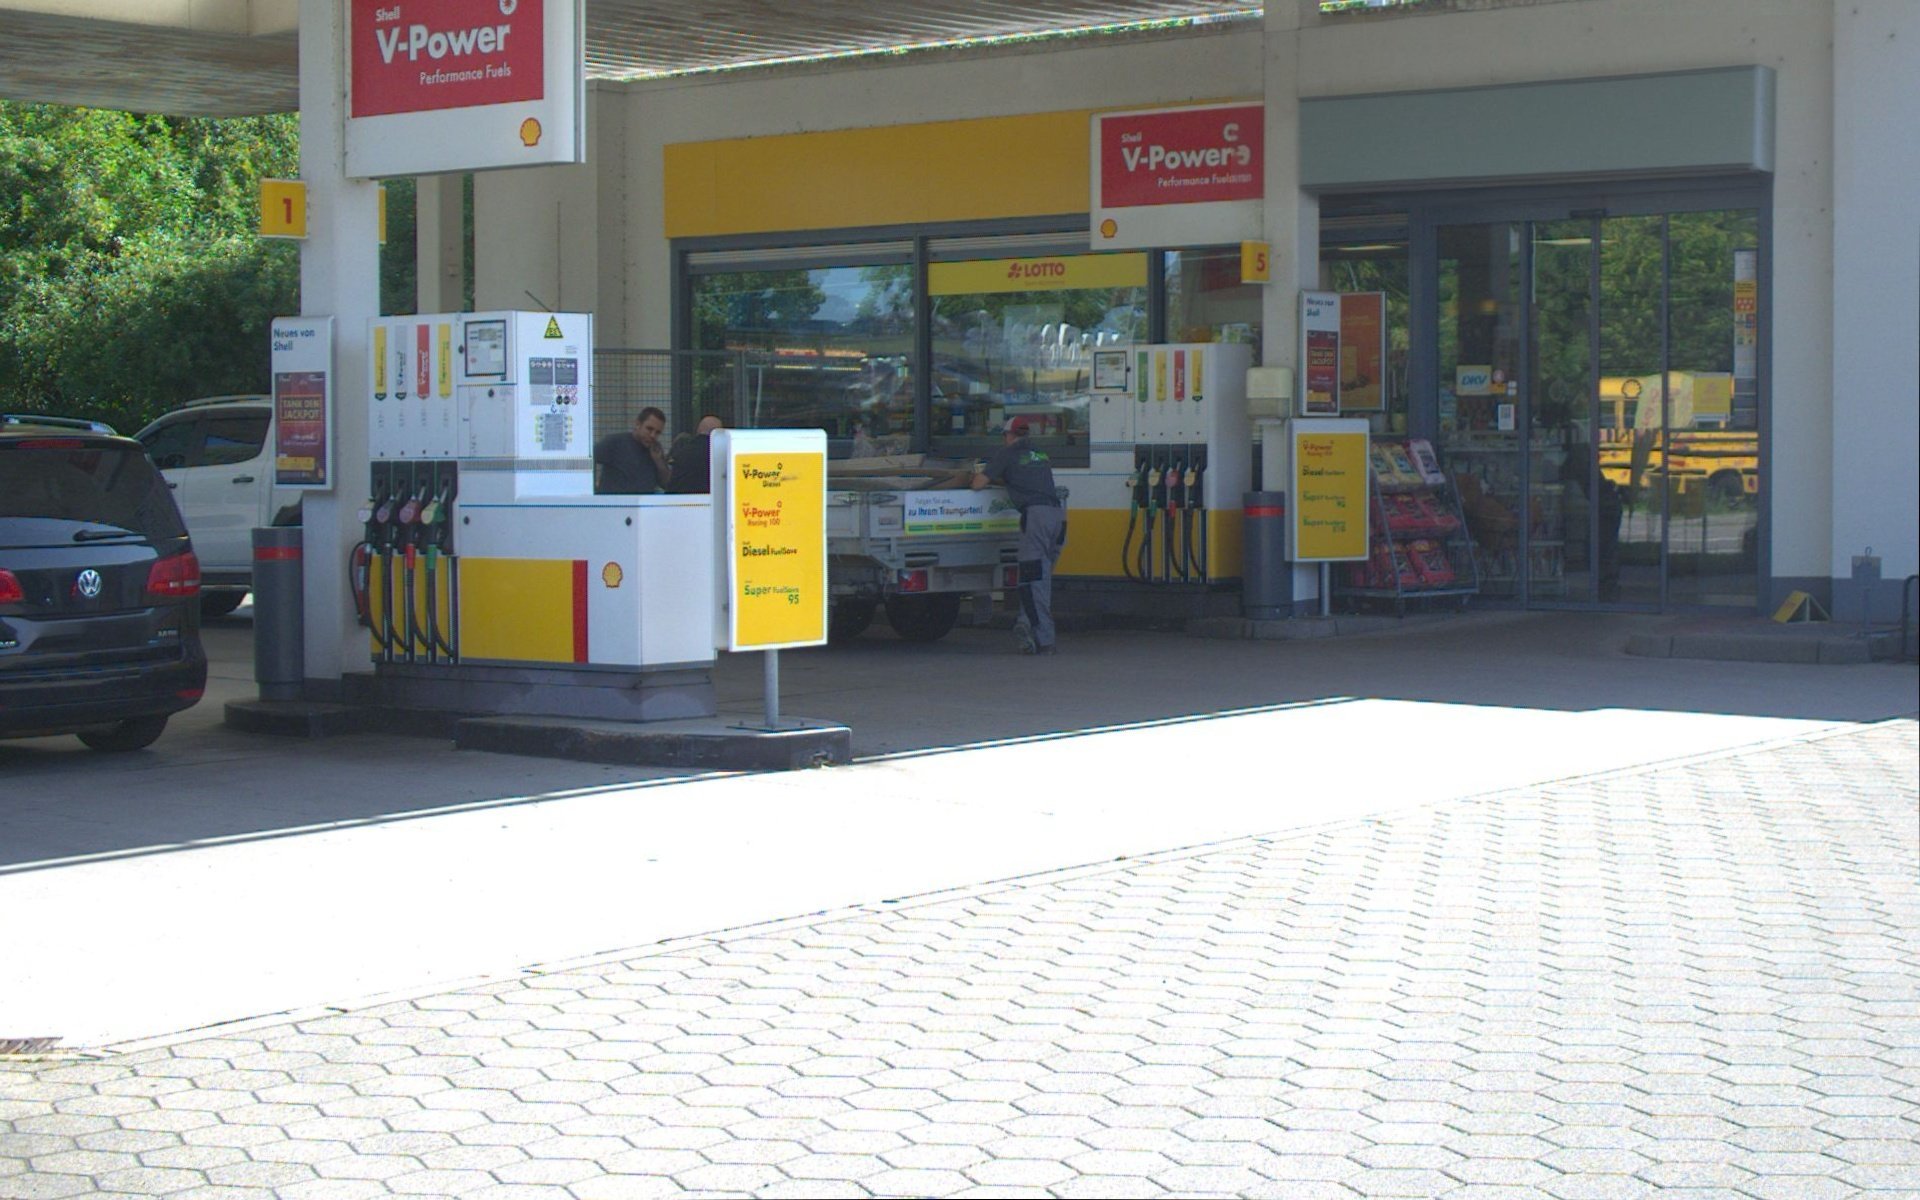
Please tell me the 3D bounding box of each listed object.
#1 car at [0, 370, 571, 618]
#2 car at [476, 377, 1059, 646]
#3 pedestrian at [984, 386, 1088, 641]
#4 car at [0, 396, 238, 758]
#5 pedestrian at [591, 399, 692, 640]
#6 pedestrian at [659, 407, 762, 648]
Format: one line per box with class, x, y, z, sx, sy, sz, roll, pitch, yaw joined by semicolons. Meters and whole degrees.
car;-5.482;-0.878;27.629;4.776;1.831;1.853;2;3;39
car;-1.406;-0.636;24.070;3.997;1.722;1.829;2;3;44
pedestrian;0.505;-0.578;22.800;0.500;1.662;0.474;2;3;41
car;-5.416;-0.164;16.466;3.874;1.573;1.761;2;3;38
pedestrian;-2.180;-0.559;23.542;0.475;1.626;0.499;2;3;44
pedestrian;-1.663;-0.490;22.925;0.475;1.587;0.499;2;3;44
